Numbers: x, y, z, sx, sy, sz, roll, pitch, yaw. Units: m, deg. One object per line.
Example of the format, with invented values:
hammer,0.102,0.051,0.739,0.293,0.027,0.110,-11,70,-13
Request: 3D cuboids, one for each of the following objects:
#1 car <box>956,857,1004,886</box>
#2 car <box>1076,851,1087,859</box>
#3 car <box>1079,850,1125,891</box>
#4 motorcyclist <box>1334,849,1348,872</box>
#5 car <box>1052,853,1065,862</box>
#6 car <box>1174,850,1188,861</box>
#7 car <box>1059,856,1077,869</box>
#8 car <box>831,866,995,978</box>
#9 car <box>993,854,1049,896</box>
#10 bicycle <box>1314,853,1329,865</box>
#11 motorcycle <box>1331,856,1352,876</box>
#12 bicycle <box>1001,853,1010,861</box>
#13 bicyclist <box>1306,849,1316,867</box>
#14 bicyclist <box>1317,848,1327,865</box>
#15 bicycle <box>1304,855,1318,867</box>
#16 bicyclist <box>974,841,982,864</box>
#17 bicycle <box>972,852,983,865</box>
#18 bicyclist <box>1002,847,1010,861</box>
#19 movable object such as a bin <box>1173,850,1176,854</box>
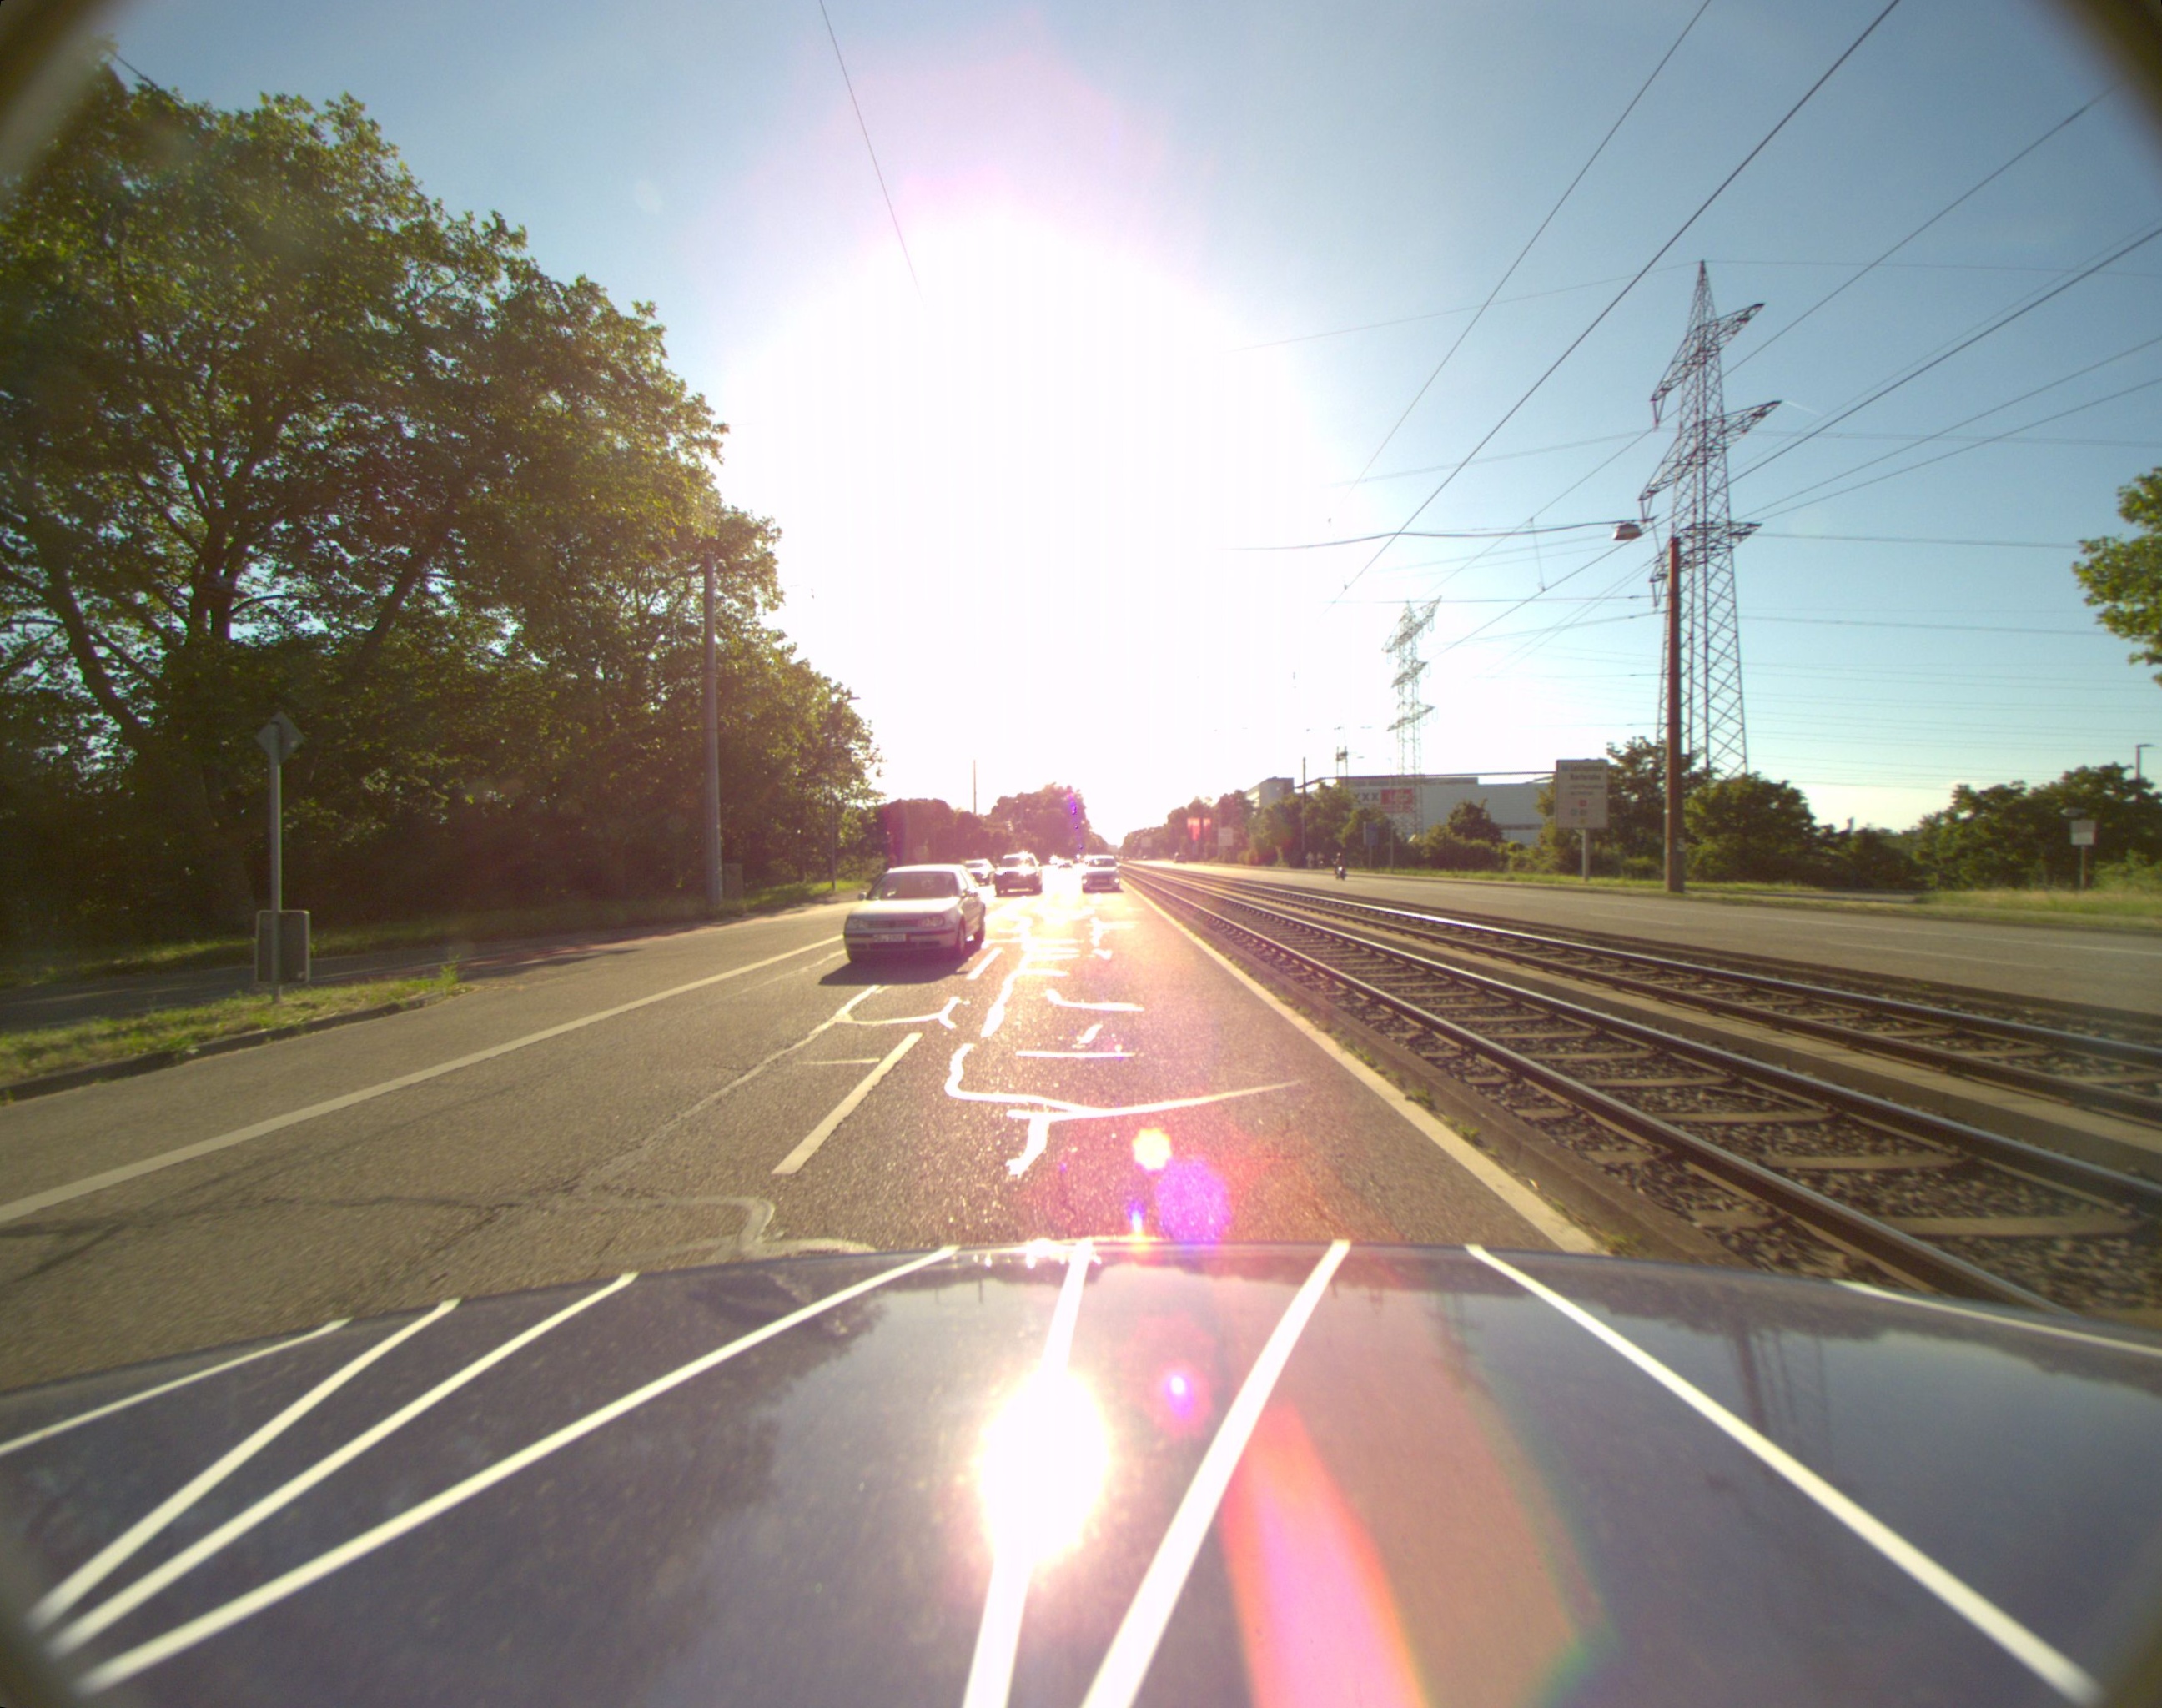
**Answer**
car,-5.808,0.984,44.331,1.881,1.435,4.660,-1,1,3
car,0.080,0.227,152.848,1.880,1.449,4.417,-1,1,5
car,0.947,0.682,33.515,1.881,1.591,4.417,-1,1,2
motorcyclist,15.156,0.381,44.274,0.537,1.263,0.805,-3,1,1
car,-3.917,0.646,133.402,1.880,1.449,4.417,-1,1,5
car,18.439,0.217,140.193,1.998,1.911,4.862,0,-1,2
car,-1.570,1.002,92.142,1.881,1.449,4.417,-1,1,2
car,-2.603,0.994,12.733,1.695,1.437,4.001,-1,1,2
car,-2.525,0.850,33.029,1.881,1.591,4.417,-1,1,2
bicycle,21.706,0.469,68.614,0.591,1.016,2.185,-1,1,0
motorcycle,15.177,0.690,44.305,0.537,1.084,1.902,-3,1,1
bicycle,-8.146,0.329,81.838,0.628,0.829,1.635,3,1,3
bicyclist,20.430,0.335,67.535,0.591,1.601,0.967,-1,1,0
bicyclist,21.710,0.199,68.523,0.591,1.519,0.906,-1,1,0
bicycle,20.437,0.648,67.592,0.591,1.016,2.185,-1,1,0
bicyclist,-8.869,-0.123,65.514,0.528,2.005,0.729,-3,1,2
bicycle,-8.855,0.362,65.238,0.528,1.054,1.972,-3,0,2
bicyclist,-8.122,0.002,81.889,0.628,1.463,1.060,3,1,3
movable object such as a bin,24.382,-0.509,198.407,0.614,0.960,1.083,-3,1,1
